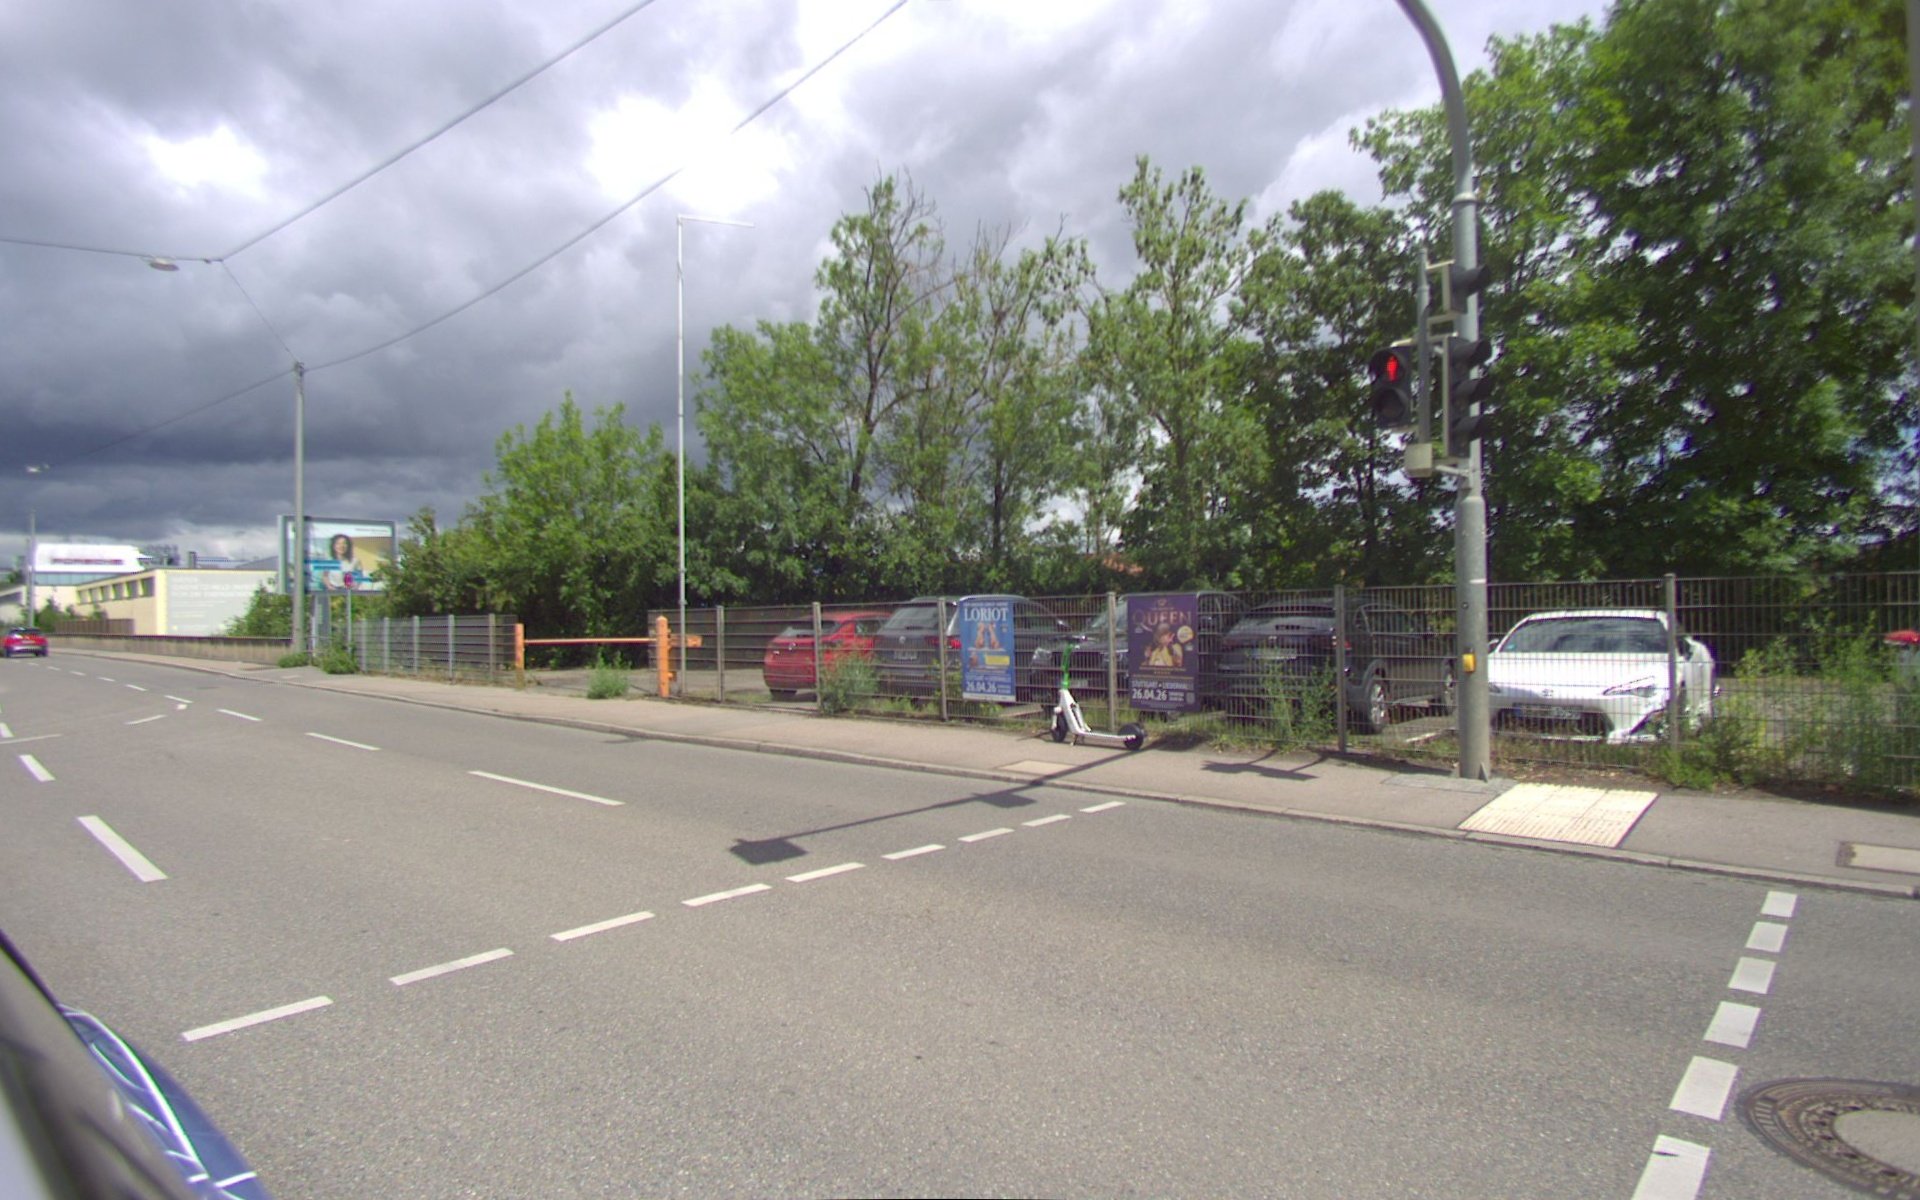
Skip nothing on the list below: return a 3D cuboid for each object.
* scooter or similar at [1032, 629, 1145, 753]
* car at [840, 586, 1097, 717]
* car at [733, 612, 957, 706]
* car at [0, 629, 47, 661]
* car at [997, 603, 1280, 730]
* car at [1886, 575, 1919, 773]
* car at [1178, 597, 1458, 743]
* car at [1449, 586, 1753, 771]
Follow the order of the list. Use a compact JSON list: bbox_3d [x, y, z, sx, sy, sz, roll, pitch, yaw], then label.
[{"bbox_3d":[1.334,0.924,10.609,0.419,1.219,1.127,-2,0,-44],"label":"scooter or similar"},{"bbox_3d":[0.259,0.728,15.760,1.996,1.748,4.065,-2,-2,36],"label":"car"},{"bbox_3d":[-1.866,0.934,17.541,1.896,1.430,3.822,-2,-1,32],"label":"car"},{"bbox_3d":[-49.552,2.335,53.166,4.151,1.611,1.910,-2,-3,42],"label":"car"},{"bbox_3d":[2.535,0.783,13.656,1.998,1.430,4.061,-2,-1,40],"label":"car"},{"bbox_3d":[8.988,0.520,8.275,2.024,1.430,4.264,-2,-1,42],"label":"car"},{"bbox_3d":[4.444,0.721,12.186,1.997,1.430,4.063,-2,-1,38],"label":"car"},{"bbox_3d":[6.454,0.637,9.988,1.915,1.430,4.059,-2,-1,41],"label":"car"}]
